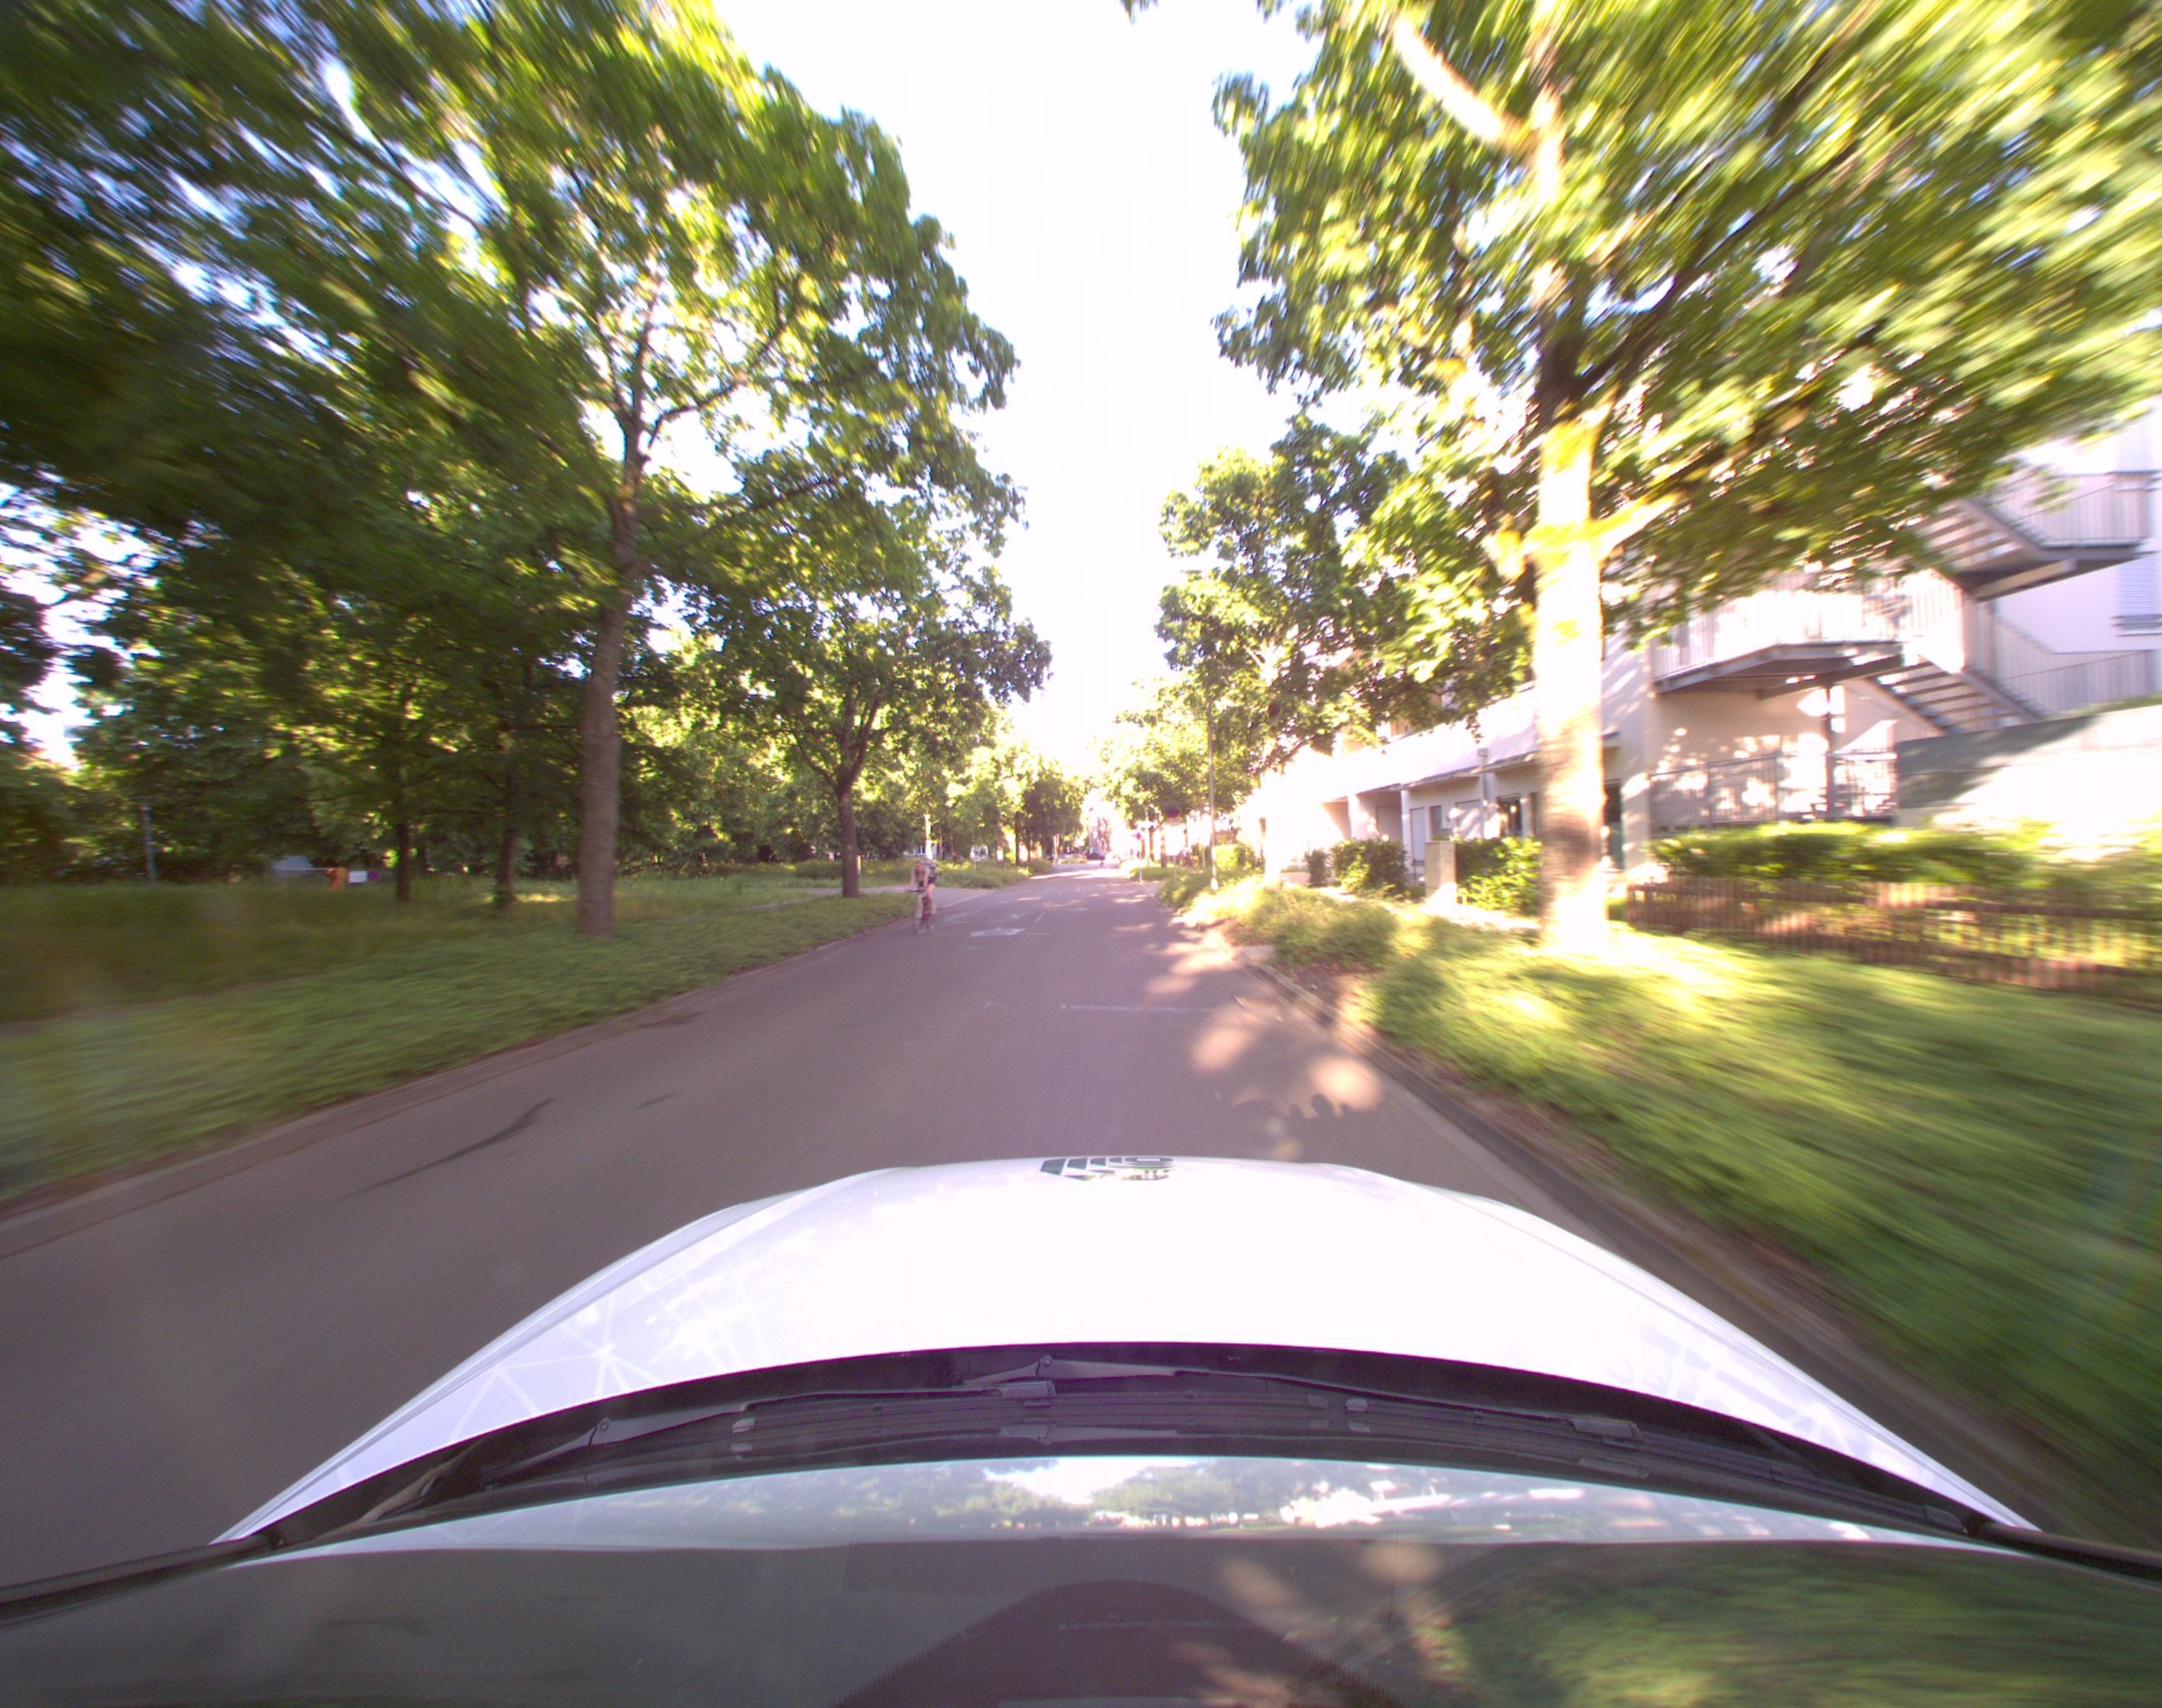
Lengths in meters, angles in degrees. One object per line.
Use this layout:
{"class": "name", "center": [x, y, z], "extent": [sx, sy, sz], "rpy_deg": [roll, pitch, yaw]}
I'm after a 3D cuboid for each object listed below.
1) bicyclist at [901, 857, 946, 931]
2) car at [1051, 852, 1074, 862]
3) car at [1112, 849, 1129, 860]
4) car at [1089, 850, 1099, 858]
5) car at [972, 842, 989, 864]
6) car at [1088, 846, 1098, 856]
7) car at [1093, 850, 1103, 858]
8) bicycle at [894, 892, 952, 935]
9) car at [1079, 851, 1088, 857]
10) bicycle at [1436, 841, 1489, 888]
{"class": "bicyclist", "center": [-3.467, 0.870, 18.032], "extent": [0.630, 1.554, 1.004], "rpy_deg": [-3, 0, 5]}
{"class": "car", "center": [-2.917, 0.433, 131.078], "extent": [3.584, 1.510, 1.496], "rpy_deg": [-1, 0, -7]}
{"class": "car", "center": [5.821, 0.095, 120.660], "extent": [1.809, 1.501, 3.991], "rpy_deg": [-2, 0, -6]}
{"class": "car", "center": [2.575, 0.015, 164.115], "extent": [1.807, 1.501, 3.997], "rpy_deg": [-1, 0, -2]}
{"class": "car", "center": [-12.064, -0.131, 97.442], "extent": [1.992, 2.508, 3.990], "rpy_deg": [-1, 0, -8]}
{"class": "car", "center": [2.604, -0.647, 174.323], "extent": [1.807, 2.050, 3.997], "rpy_deg": [-1, 0, -2]}
{"class": "car", "center": [3.275, 0.007, 157.569], "extent": [1.807, 1.501, 3.997], "rpy_deg": [-1, 0, -2]}
{"class": "bicycle", "center": [-3.449, 1.292, 17.947], "extent": [0.636, 0.742, 2.129], "rpy_deg": [-3, 0, 5]}
{"class": "car", "center": [0.608, 0.011, 191.288], "extent": [1.807, 1.501, 3.997], "rpy_deg": [-1, 0, -2]}
{"class": "bicycle", "center": [10.210, 0.276, 21.875], "extent": [0.615, 1.191, 1.754], "rpy_deg": [-1, 0, 1]}
